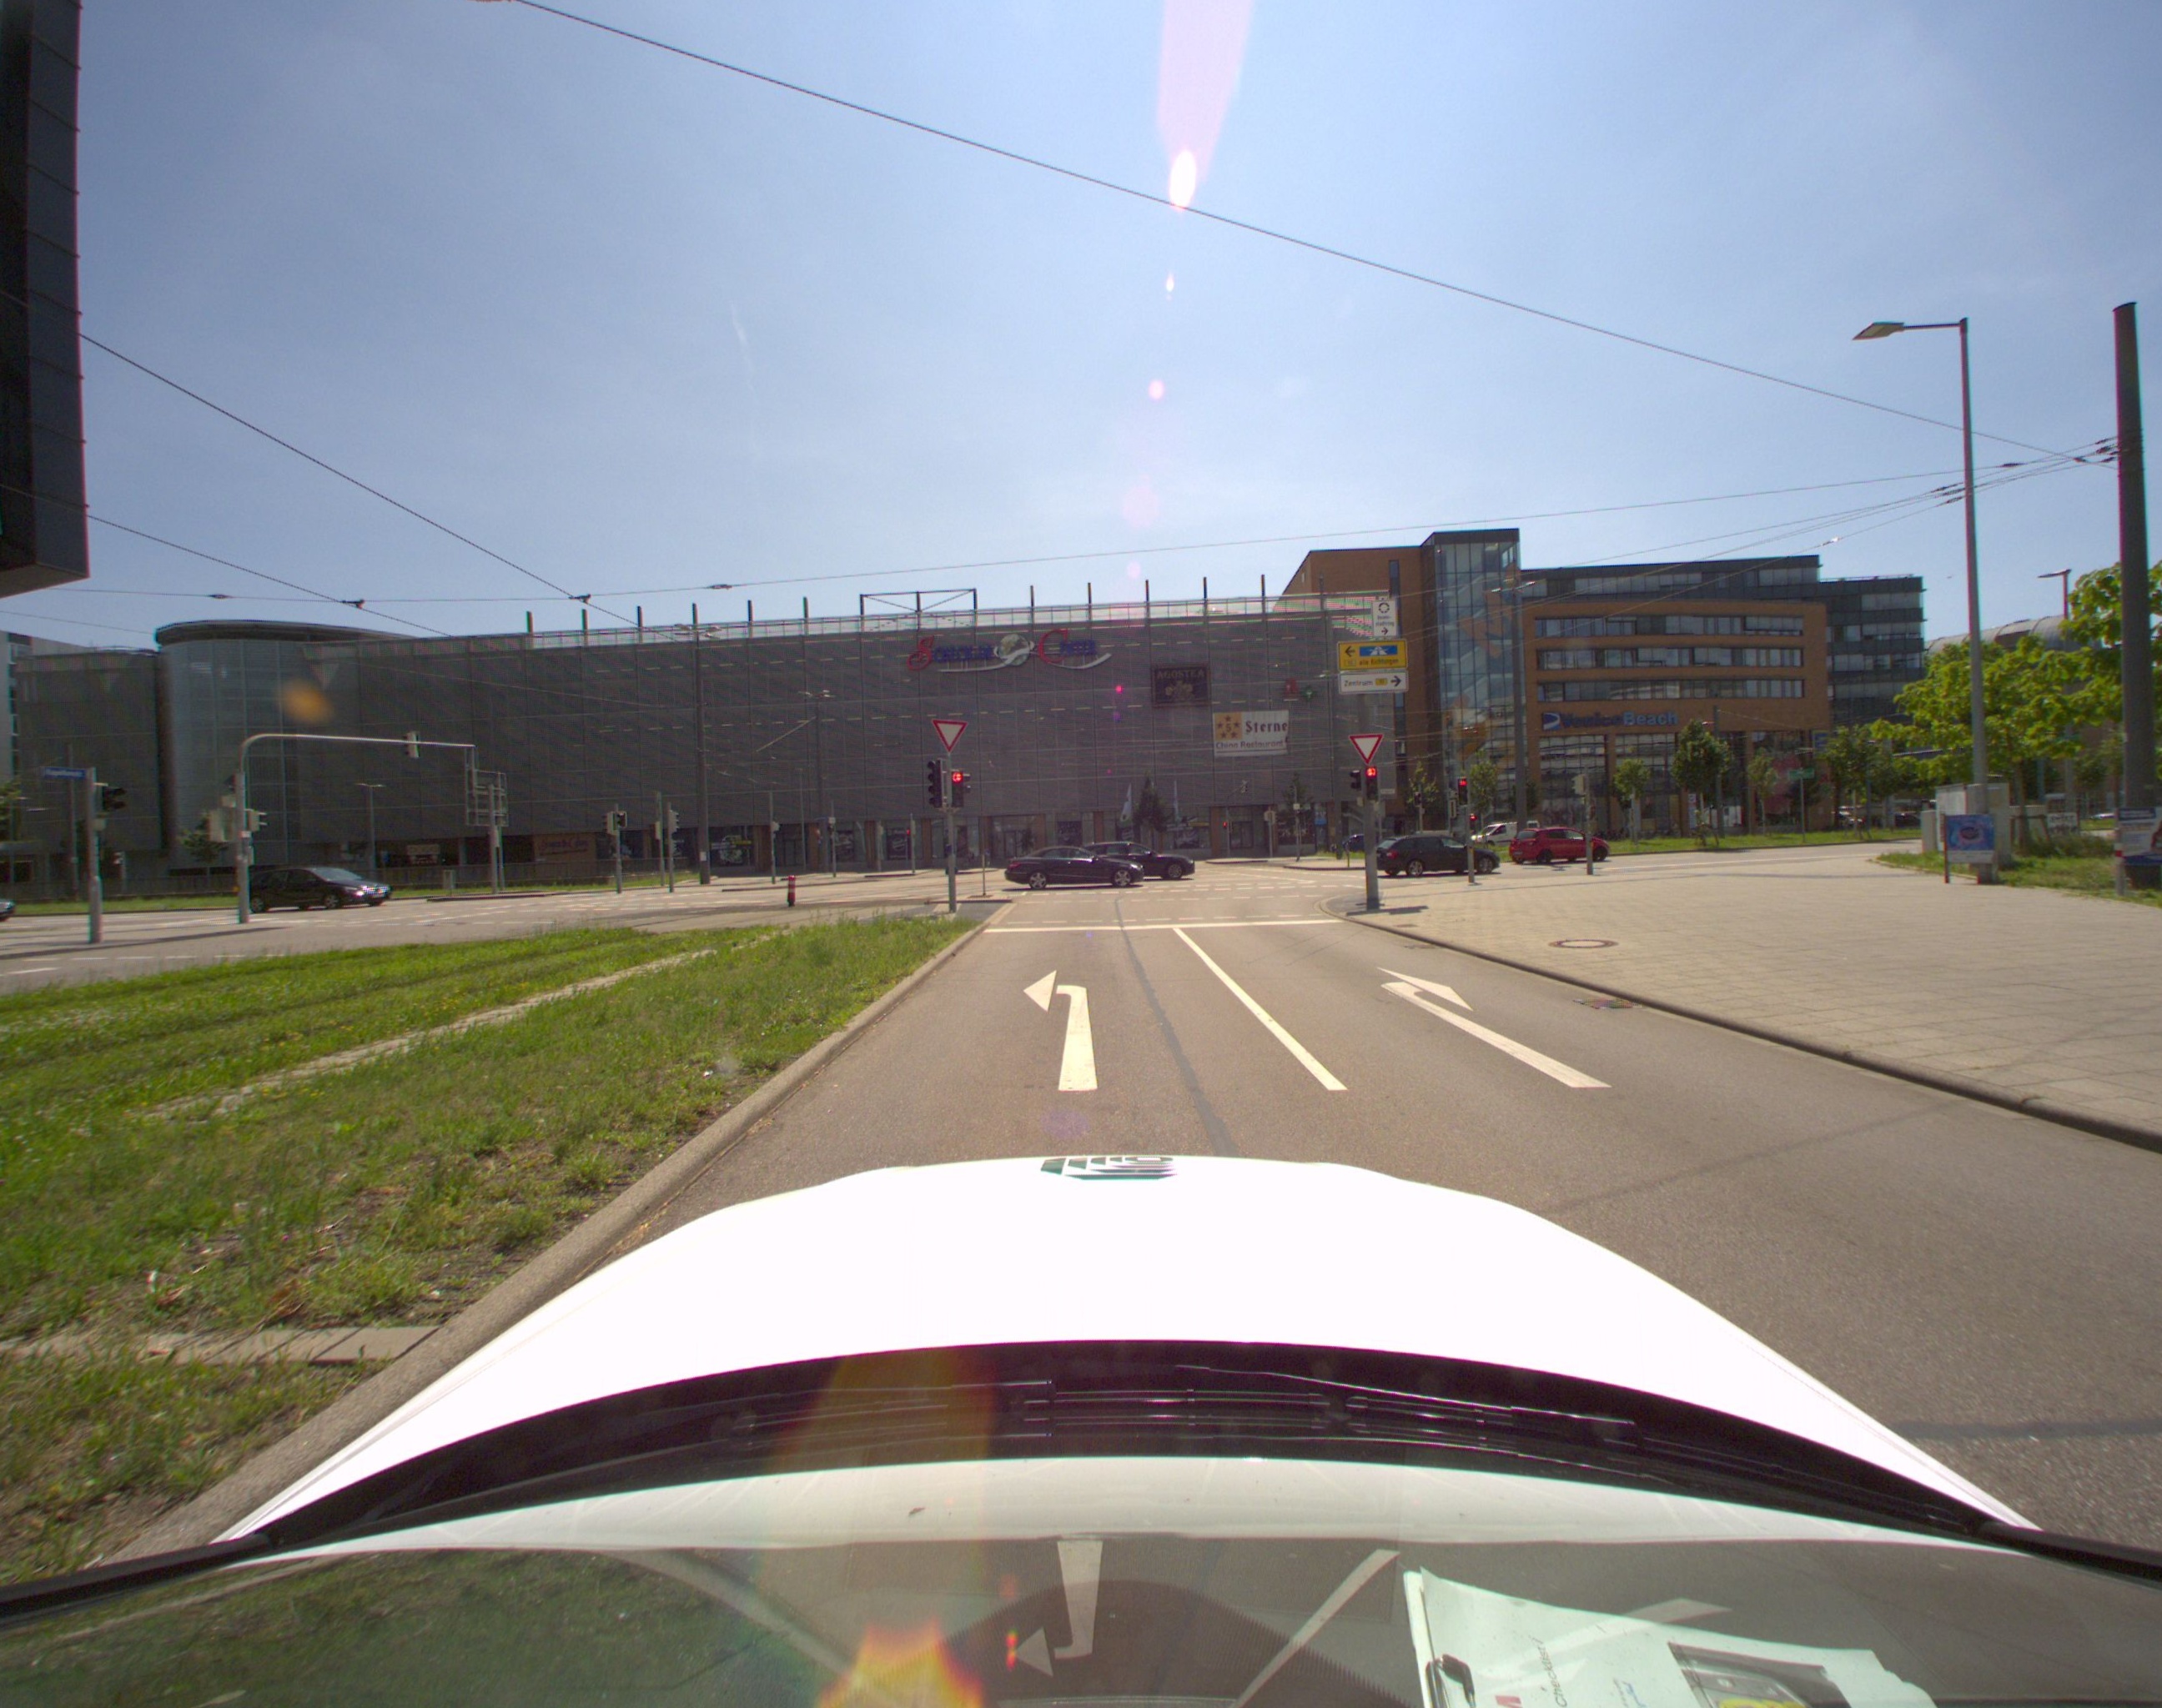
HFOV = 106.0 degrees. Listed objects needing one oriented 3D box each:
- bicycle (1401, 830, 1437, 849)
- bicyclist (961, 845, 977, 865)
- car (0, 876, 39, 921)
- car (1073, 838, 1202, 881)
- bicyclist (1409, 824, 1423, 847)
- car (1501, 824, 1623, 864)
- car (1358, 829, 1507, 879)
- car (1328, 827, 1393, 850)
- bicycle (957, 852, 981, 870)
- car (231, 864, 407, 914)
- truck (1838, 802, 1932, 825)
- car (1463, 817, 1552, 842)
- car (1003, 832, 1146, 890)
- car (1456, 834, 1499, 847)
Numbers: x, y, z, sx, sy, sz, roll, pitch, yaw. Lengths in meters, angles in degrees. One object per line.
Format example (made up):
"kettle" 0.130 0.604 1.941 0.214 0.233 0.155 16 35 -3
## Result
"bicycle" 29.447 -1.264 71.009 2.837 1.557 0.705 -1 1 3
"bicyclist" -9.083 0.071 66.041 1.034 1.571 0.779 -1 1 8
"car" -41.805 1.715 29.588 4.847 1.580 1.997 -1 1 -5
"car" 2.082 0.172 30.962 4.752 1.460 1.887 -1 1 -2
"bicyclist" 29.187 -1.622 70.975 0.908 2.013 0.749 -1 1 3
"car" 19.745 -0.410 33.482 4.126 1.508 1.836 -1 1 -10
"car" 12.470 -0.028 29.035 4.520 1.508 1.839 -3 1 -6
"car" 19.725 -1.119 57.606 3.975 1.538 1.881 -1 1 -1
"bicycle" -9.059 0.546 66.141 1.055 1.390 3.031 -1 1 8
"car" -27.519 1.231 29.533 4.310 1.553 1.998 -1 1 -3
"truck" 110.042 -5.481 111.694 2.000 2.808 9.181 -2 1 -19
"car" 30.567 -1.741 58.404 5.453 1.667 1.997 -1 1 -5
"car" -0.232 0.194 27.311 4.537 1.576 1.999 -4 1 -2
"car" 33.673 -1.155 69.230 2.985 1.035 1.349 -1 1 -2
